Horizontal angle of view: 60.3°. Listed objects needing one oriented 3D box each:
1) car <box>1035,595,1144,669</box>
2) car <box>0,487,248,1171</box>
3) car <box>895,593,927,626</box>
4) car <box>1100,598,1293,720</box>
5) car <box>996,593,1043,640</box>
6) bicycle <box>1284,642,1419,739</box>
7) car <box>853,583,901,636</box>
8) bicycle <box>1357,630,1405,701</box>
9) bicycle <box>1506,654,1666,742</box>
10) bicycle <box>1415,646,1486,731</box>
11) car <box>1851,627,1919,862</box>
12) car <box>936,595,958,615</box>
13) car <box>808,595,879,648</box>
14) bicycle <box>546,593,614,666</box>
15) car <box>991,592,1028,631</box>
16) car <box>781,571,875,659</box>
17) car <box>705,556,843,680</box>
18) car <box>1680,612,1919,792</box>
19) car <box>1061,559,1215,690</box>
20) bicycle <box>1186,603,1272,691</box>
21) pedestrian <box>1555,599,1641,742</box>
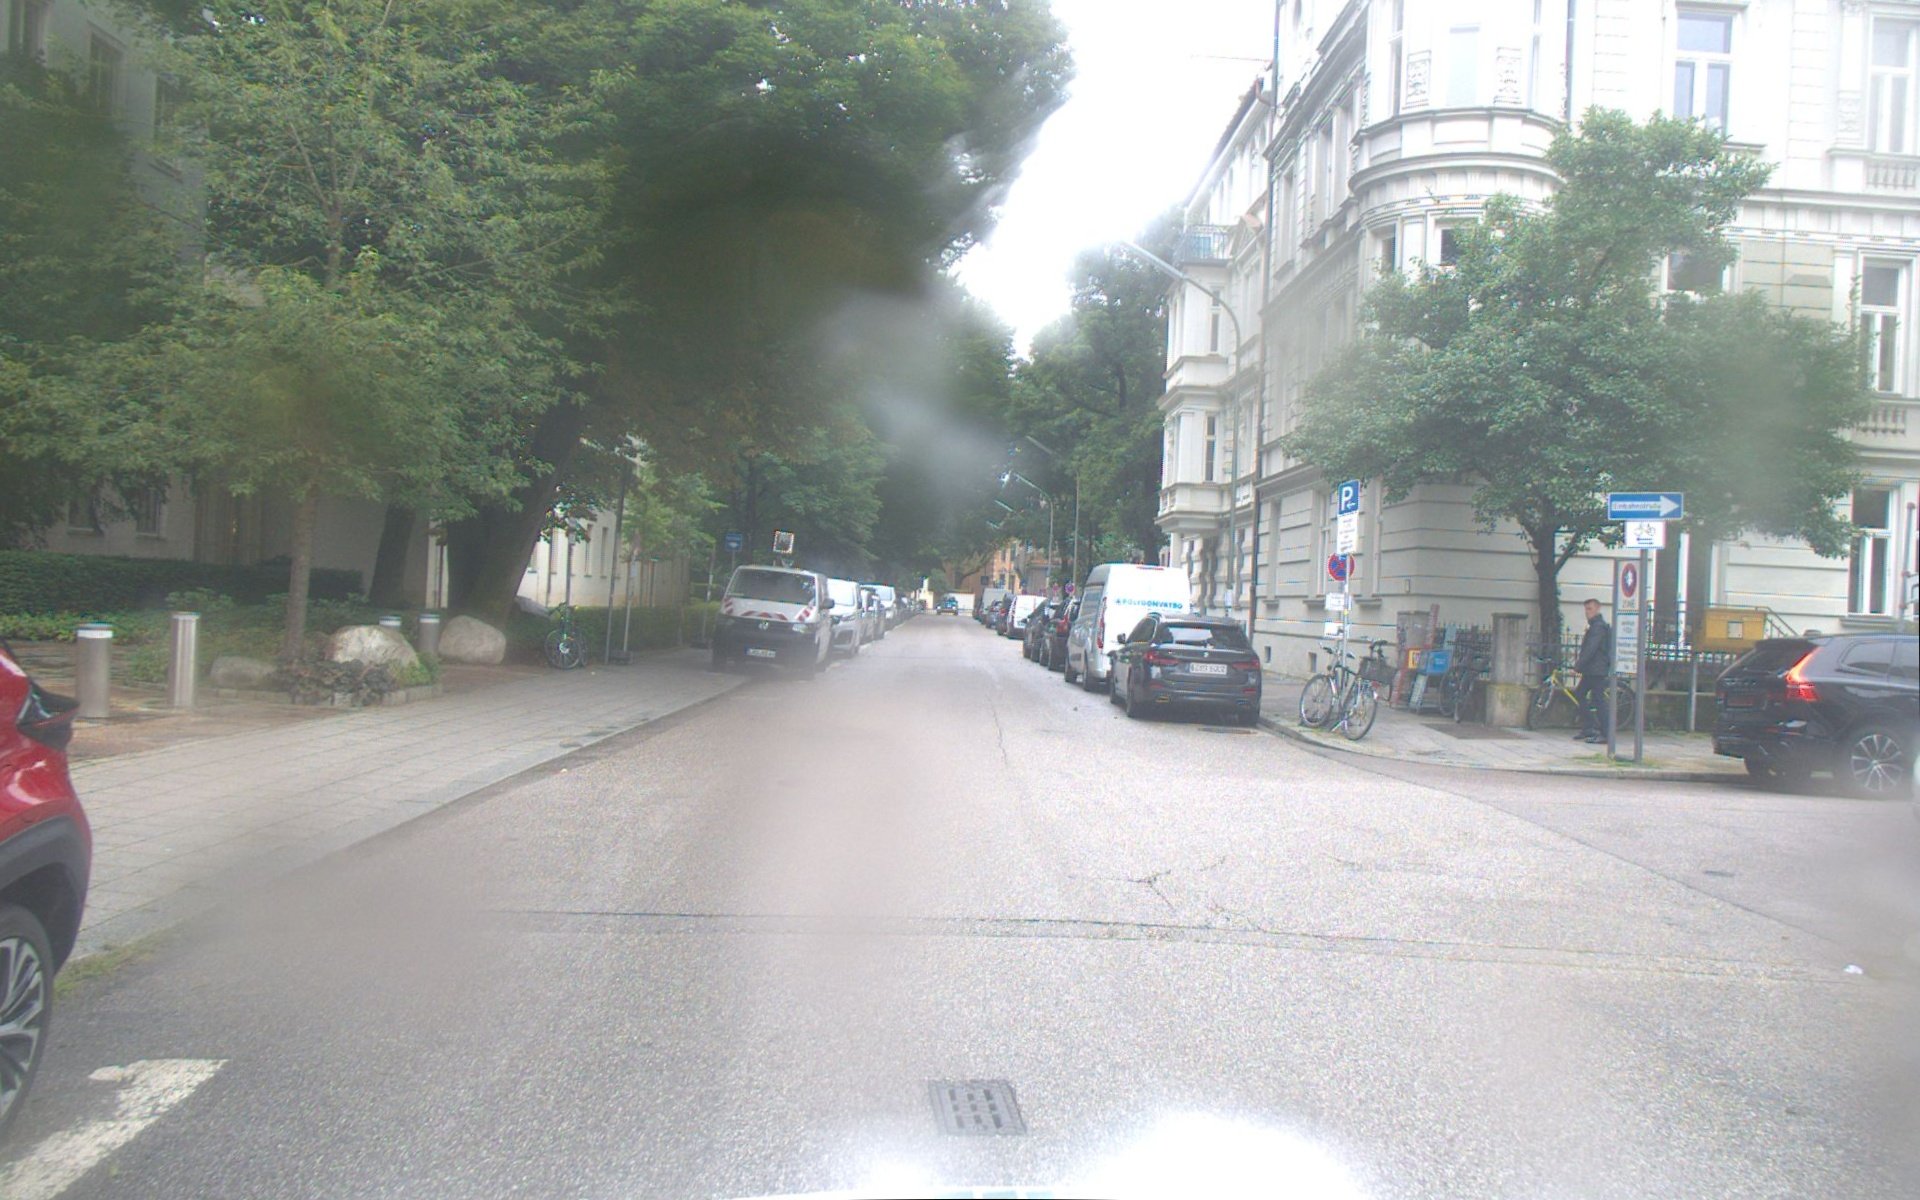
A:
[{"bbox_3d":[3.075,0.759,40.229,2.095,1.658,4.313,1,0,-3],"label":"car"},{"bbox_3d":[-3.090,0.487,2.914,1.850,1.618,4.524,4,0,-4],"label":"car"},{"bbox_3d":[-3.444,0.648,115.769,2.007,2.192,4.310,4,0,-4],"label":"car"},{"bbox_3d":[3.359,0.803,24.427,2.226,1.573,4.587,1,0,1],"label":"car"},{"bbox_3d":[2.647,0.720,74.429,1.952,2.010,4.000,2,0,1],"label":"car"},{"bbox_3d":[4.929,1.125,21.010,0.643,1.046,2.192,2,1,-16],"label":"bicycle"},{"bbox_3d":[-3.776,0.414,75.808,1.962,2.224,4.694,4,0,-2],"label":"car"},{"bbox_3d":[6.819,1.043,26.850,0.534,1.079,1.752,2,0,8],"label":"bicycle"},{"bbox_3d":[8.321,1.297,22.015,1.883,1.046,0.557,2,1,1],"label":"bicycle"},{"bbox_3d":[6.890,1.219,23.297,0.421,1.046,1.891,2,1,0],"label":"bicycle"},{"bbox_3d":[9.011,1.116,11.313,4.809,1.558,1.912,2,2,-4],"label":"car"},{"bbox_3d":[-1.224,0.512,158.266,1.952,1.814,4.000,2,0,1],"label":"car"},{"bbox_3d":[-3.762,0.677,54.208,2.028,1.546,4.236,4,0,-1],"label":"car"},{"bbox_3d":[-6.254,0.482,27.293,0.620,1.122,1.767,4,-1,1],"label":"bicycle"},{"bbox_3d":[2.773,0.640,93.621,1.952,2.049,4.000,2,0,1],"label":"car"},{"bbox_3d":[-3.379,0.370,42.809,2.141,1.990,5.162,4,0,-4],"label":"car"},{"bbox_3d":[-3.378,0.305,31.087,2.203,1.990,5.449,4,0,-4],"label":"car"},{"bbox_3d":[10.357,1.147,17.181,4.938,1.681,1.942,3,-4,-4],"label":"car"},{"bbox_3d":[3.271,0.449,31.391,2.159,2.247,4.852,1,0,-3],"label":"car"},{"bbox_3d":[5.016,0.849,30.938,0.696,1.542,2.029,2,0,-18],"label":"bicycle"},{"bbox_3d":[8.008,0.866,20.735,0.953,1.719,0.860,1,0,23],"label":"pedestrian"}]
